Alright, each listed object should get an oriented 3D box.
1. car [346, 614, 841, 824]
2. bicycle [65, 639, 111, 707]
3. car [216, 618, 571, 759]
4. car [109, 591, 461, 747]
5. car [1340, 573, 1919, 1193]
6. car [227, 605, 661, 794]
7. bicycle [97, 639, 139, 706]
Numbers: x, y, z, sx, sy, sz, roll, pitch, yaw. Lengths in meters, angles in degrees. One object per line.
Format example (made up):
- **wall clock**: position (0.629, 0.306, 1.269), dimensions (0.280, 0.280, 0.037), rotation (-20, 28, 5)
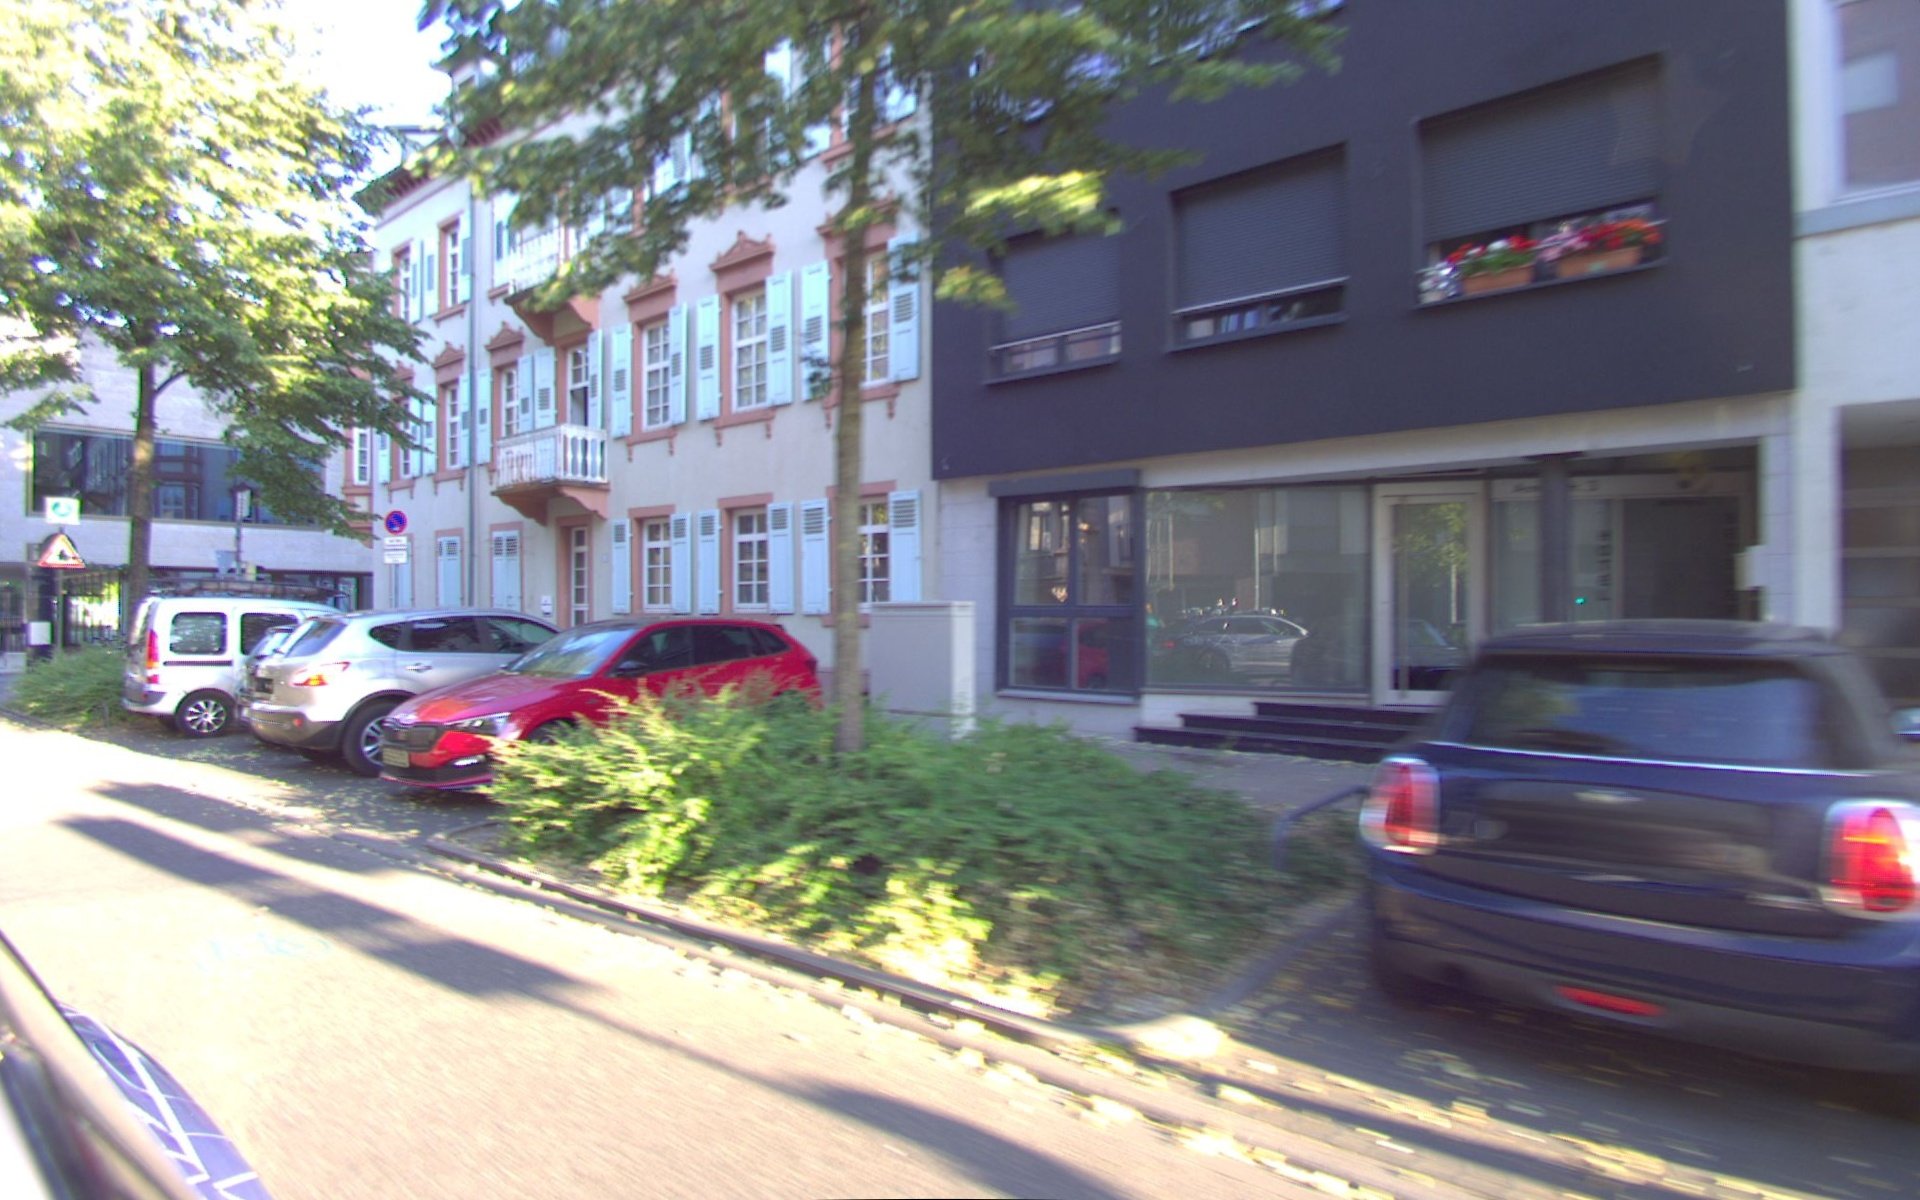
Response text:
- **car**: position (-3.185, 0.903, 9.599), dimensions (1.758, 1.528, 4.170), rotation (-1, -1, 35)
- **bicycle**: position (-15.595, 1.282, 18.091), dimensions (1.712, 1.116, 0.391), rotation (0, 1, 42)
- **car**: position (-7.039, 0.992, 12.811), dimensions (1.649, 1.526, 3.609), rotation (-1, -2, 44)
- **car**: position (-9.235, 0.852, 14.067), dimensions (1.700, 1.863, 3.769), rotation (-1, -1, 42)
- **car**: position (3.219, 0.703, 4.302), dimensions (1.855, 1.529, 3.854), rotation (-1, -1, 39)
- **car**: position (-5.350, 0.879, 10.850), dimensions (1.741, 1.597, 3.785), rotation (0, 0, 42)
- **bicycle**: position (-15.304, 1.296, 18.379), dimensions (1.596, 1.149, 0.327), rotation (-1, 0, 42)
